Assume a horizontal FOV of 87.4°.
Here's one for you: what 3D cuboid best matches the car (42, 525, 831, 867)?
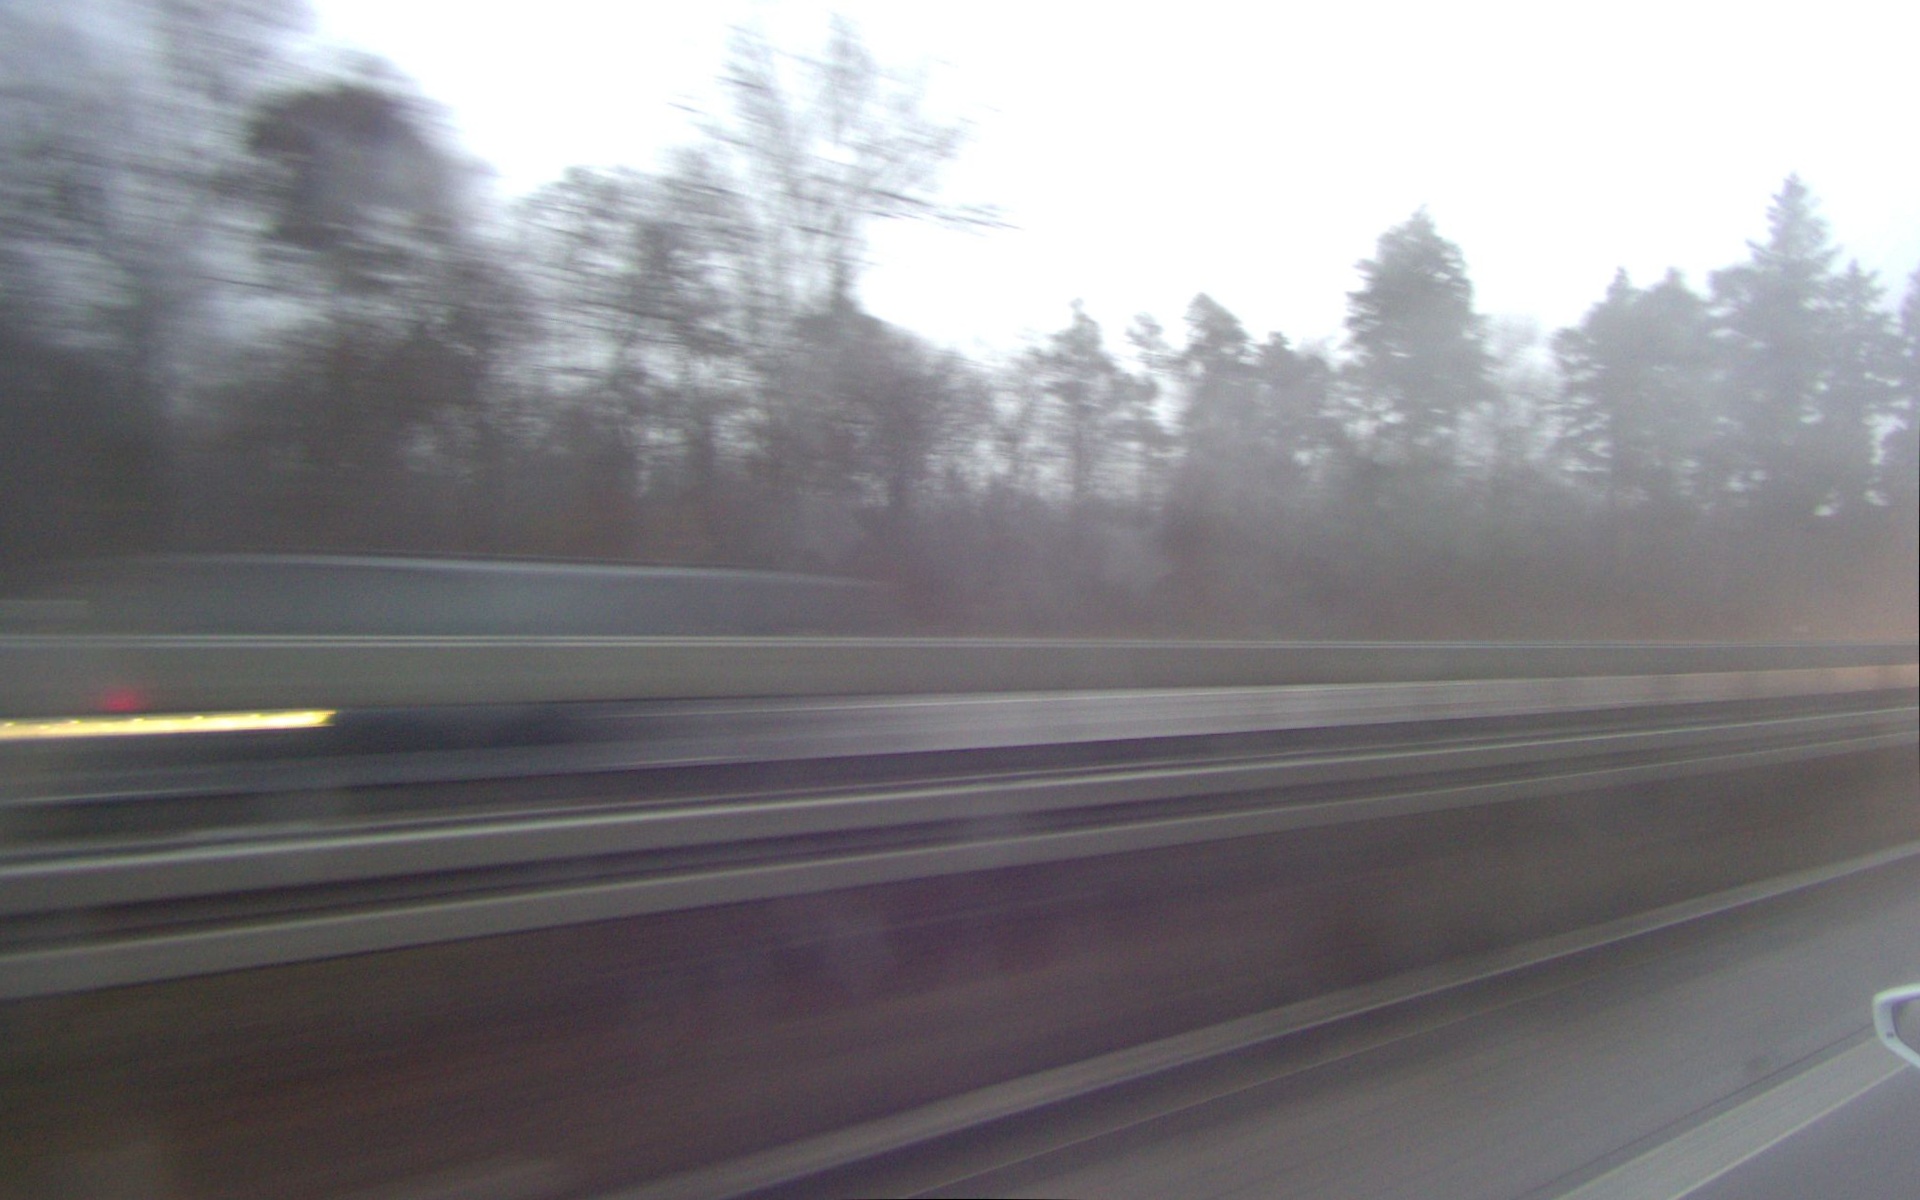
[{"bbox_3d":[-3.016,0.483,6.475,3.954,1.588,1.800,1,0,-31],"label":"car"}]
